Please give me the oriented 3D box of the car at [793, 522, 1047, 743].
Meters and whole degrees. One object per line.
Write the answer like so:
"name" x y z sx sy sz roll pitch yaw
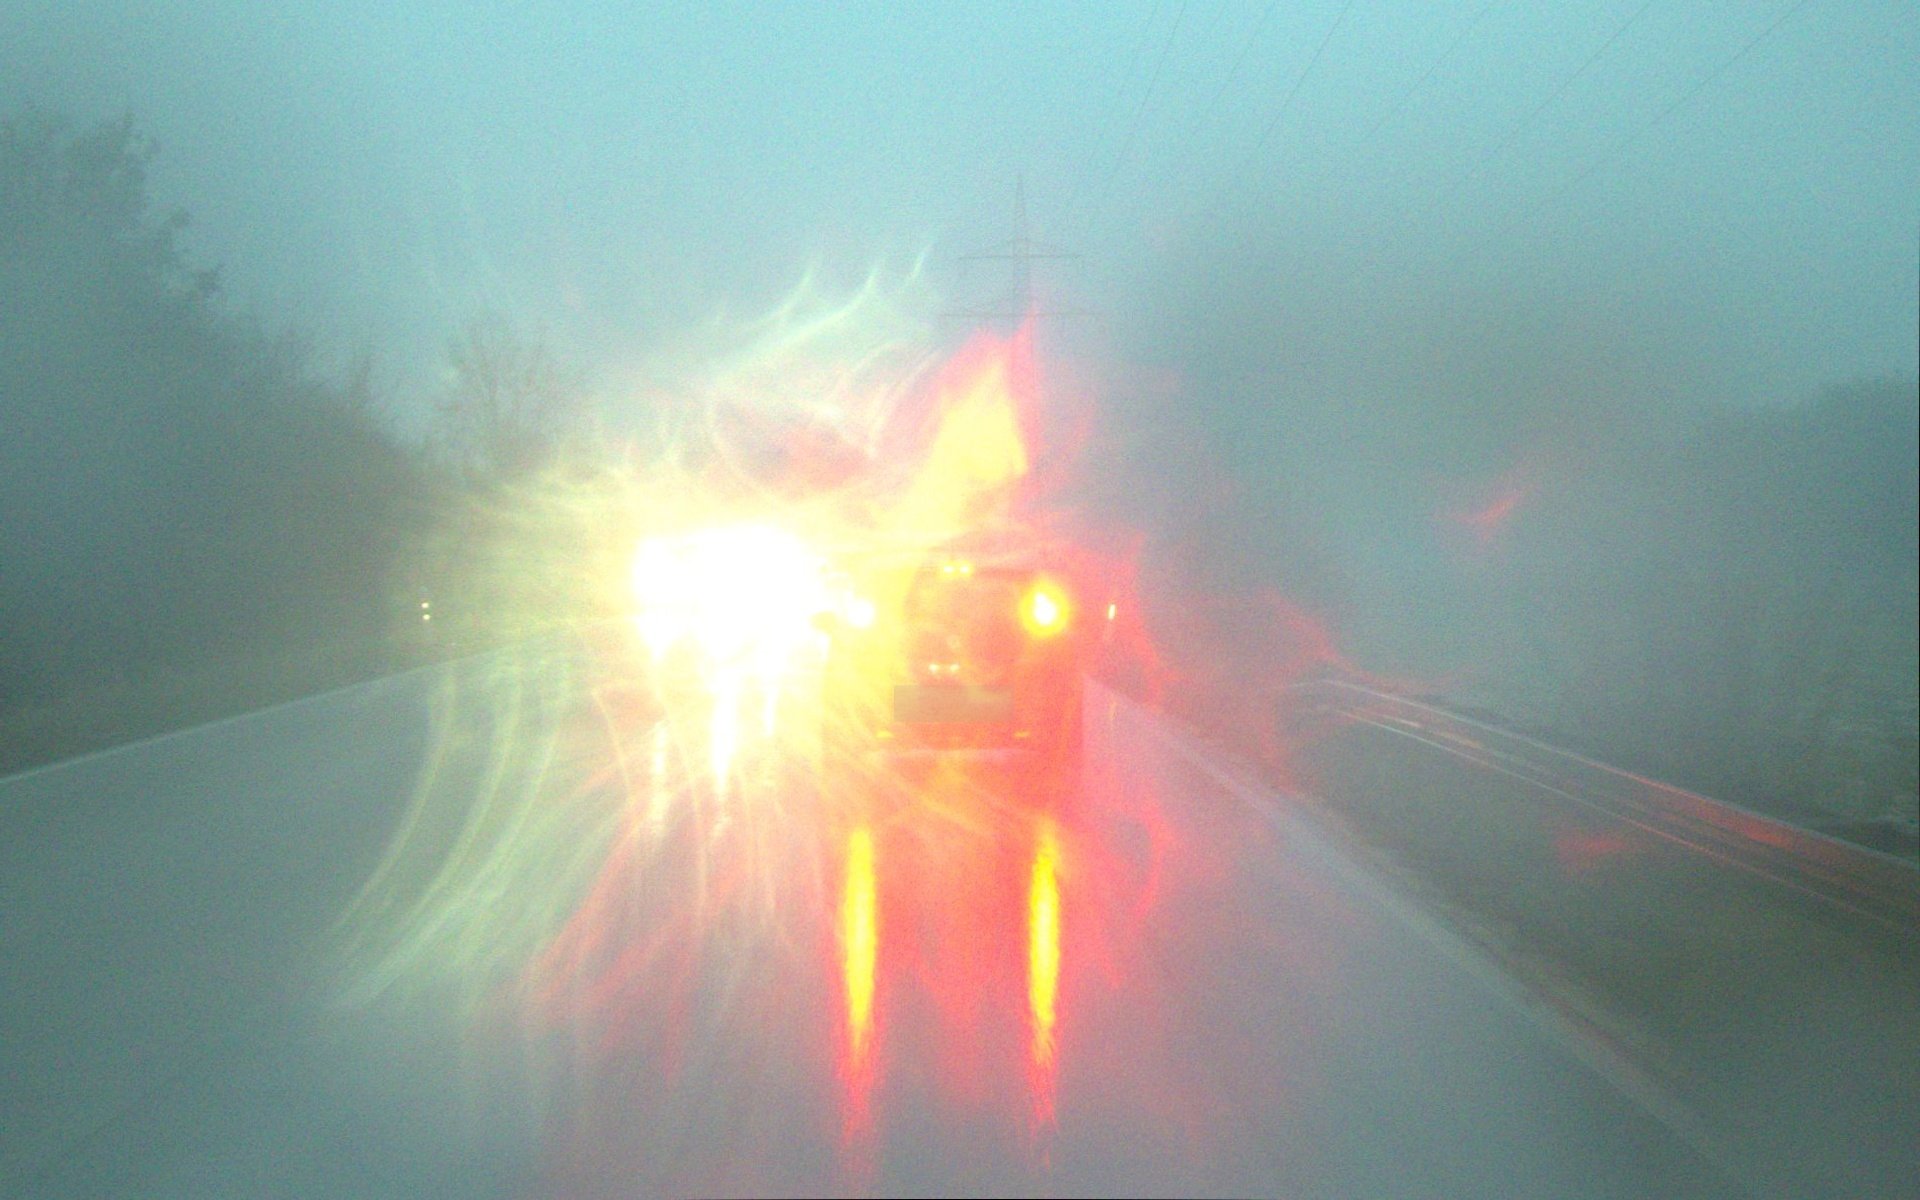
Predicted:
"car" -0.330 0.187 23.389 1.500 1.393 3.200 0 1 -5

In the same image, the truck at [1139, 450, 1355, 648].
"truck" 4.538 -0.815 55.775 2.533 2.968 7.858 0 1 -2

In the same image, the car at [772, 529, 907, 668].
"car" -1.857 -0.039 51.842 1.852 2.007 4.001 0 1 -5
